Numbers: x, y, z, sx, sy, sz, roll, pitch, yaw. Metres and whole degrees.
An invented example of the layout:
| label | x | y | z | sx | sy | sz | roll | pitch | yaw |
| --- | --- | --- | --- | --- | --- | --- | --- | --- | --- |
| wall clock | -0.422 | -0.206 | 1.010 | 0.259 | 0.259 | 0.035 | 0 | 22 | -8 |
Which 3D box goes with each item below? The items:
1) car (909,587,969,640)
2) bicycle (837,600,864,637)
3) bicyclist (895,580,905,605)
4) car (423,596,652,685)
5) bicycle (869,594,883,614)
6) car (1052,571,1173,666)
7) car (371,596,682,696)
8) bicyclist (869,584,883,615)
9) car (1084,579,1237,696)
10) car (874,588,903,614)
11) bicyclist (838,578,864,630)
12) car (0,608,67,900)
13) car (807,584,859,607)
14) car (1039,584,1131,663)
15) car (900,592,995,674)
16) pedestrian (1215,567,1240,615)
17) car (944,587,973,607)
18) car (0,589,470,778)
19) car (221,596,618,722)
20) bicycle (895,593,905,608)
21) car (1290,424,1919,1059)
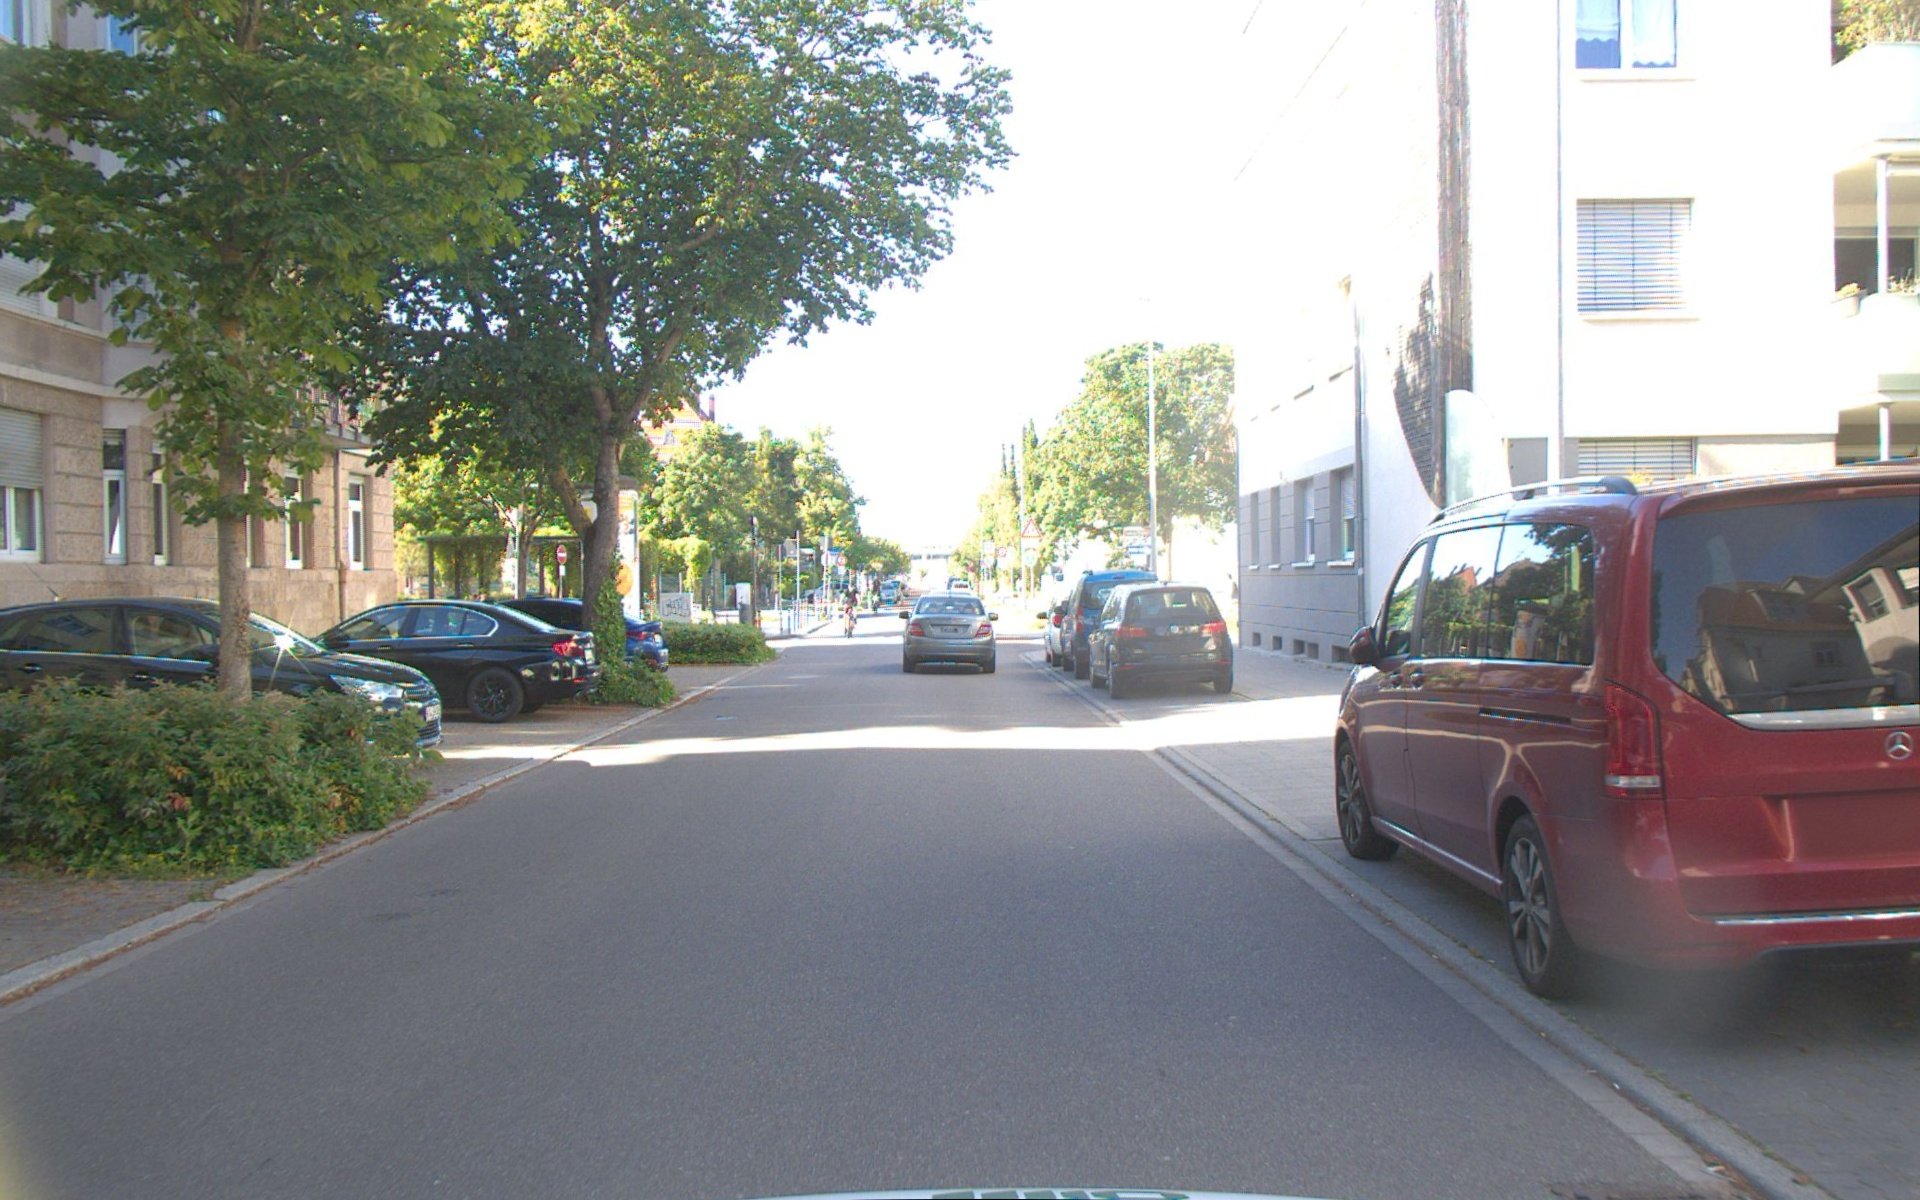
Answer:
| label | x | y | z | sx | sy | sz | roll | pitch | yaw |
| --- | --- | --- | --- | --- | --- | --- | --- | --- | --- |
| car | -0.655 | 0.406 | 49.100 | 1.672 | 1.473 | 4.201 | 1 | -1 | -2 |
| bicycle | -3.384 | 0.569 | 51.384 | 0.705 | 1.098 | 1.890 | -2 | 0 | 0 |
| bicyclist | -3.785 | -0.466 | 104.319 | 0.560 | 1.535 | 0.655 | -1 | 0 | 0 |
| car | -7.219 | 0.667 | 28.497 | 3.507 | 1.455 | 1.730 | 0 | 0 | -1 |
| bicycle | -4.249 | 0.202 | 83.682 | 0.577 | 0.948 | 1.850 | -1 | 1 | 0 |
| car | 2.699 | 0.346 | 30.153 | 1.648 | 1.459 | 4.265 | -5 | -1 | -1 |
| car | -6.669 | 0.705 | 25.825 | 4.384 | 1.505 | 1.867 | 0 | -1 | -3 |
| bicyclist | -4.256 | -0.023 | 83.688 | 0.666 | 1.535 | 0.655 | -1 | 0 | 0 |
| car | 2.859 | 0.487 | 24.376 | 1.701 | 1.558 | 4.178 | 0 | 0 | -1 |
| car | -5.036 | 0.080 | 116.429 | 1.836 | 1.758 | 3.996 | -1 | 1 | -5 |
| bicyclist | -3.397 | 0.124 | 51.477 | 0.706 | 1.563 | 1.137 | -2 | 0 | -1 |
| car | -6.780 | 0.783 | 8.017 | 3.906 | 1.446 | 1.771 | 0 | 2 | -2 |
| car | -8.569 | -0.313 | 111.370 | 3.428 | 1.560 | 1.642 | 0 | 0 | -8 |
| car | 2.559 | 0.487 | 34.513 | 1.532 | 1.435 | 3.729 | -5 | -1 | 0 |
| car | -0.214 | 0.616 | 31.720 | 1.691 | 1.445 | 3.960 | 1 | -1 | 0 |
| pedestrian | 9.366 | -0.327 | 57.934 | 0.635 | 1.651 | 0.615 | -1 | 0 | 37 |
| car | -0.128 | -0.218 | 119.243 | 1.689 | 1.353 | 3.996 | 0 | 0 | -5 |
| car | -6.647 | 0.711 | 14.692 | 4.094 | 1.526 | 1.996 | 1 | -1 | -8 |
| car | -6.673 | 0.722 | 20.799 | 4.384 | 1.505 | 1.867 | 0 | -1 | -3 |
| bicycle | -3.776 | 0.016 | 104.303 | 0.577 | 0.948 | 1.850 | -1 | 1 | 0 |
| car | 3.001 | 0.431 | 7.746 | 1.833 | 1.938 | 5.197 | -2 | 0 | 0 |
